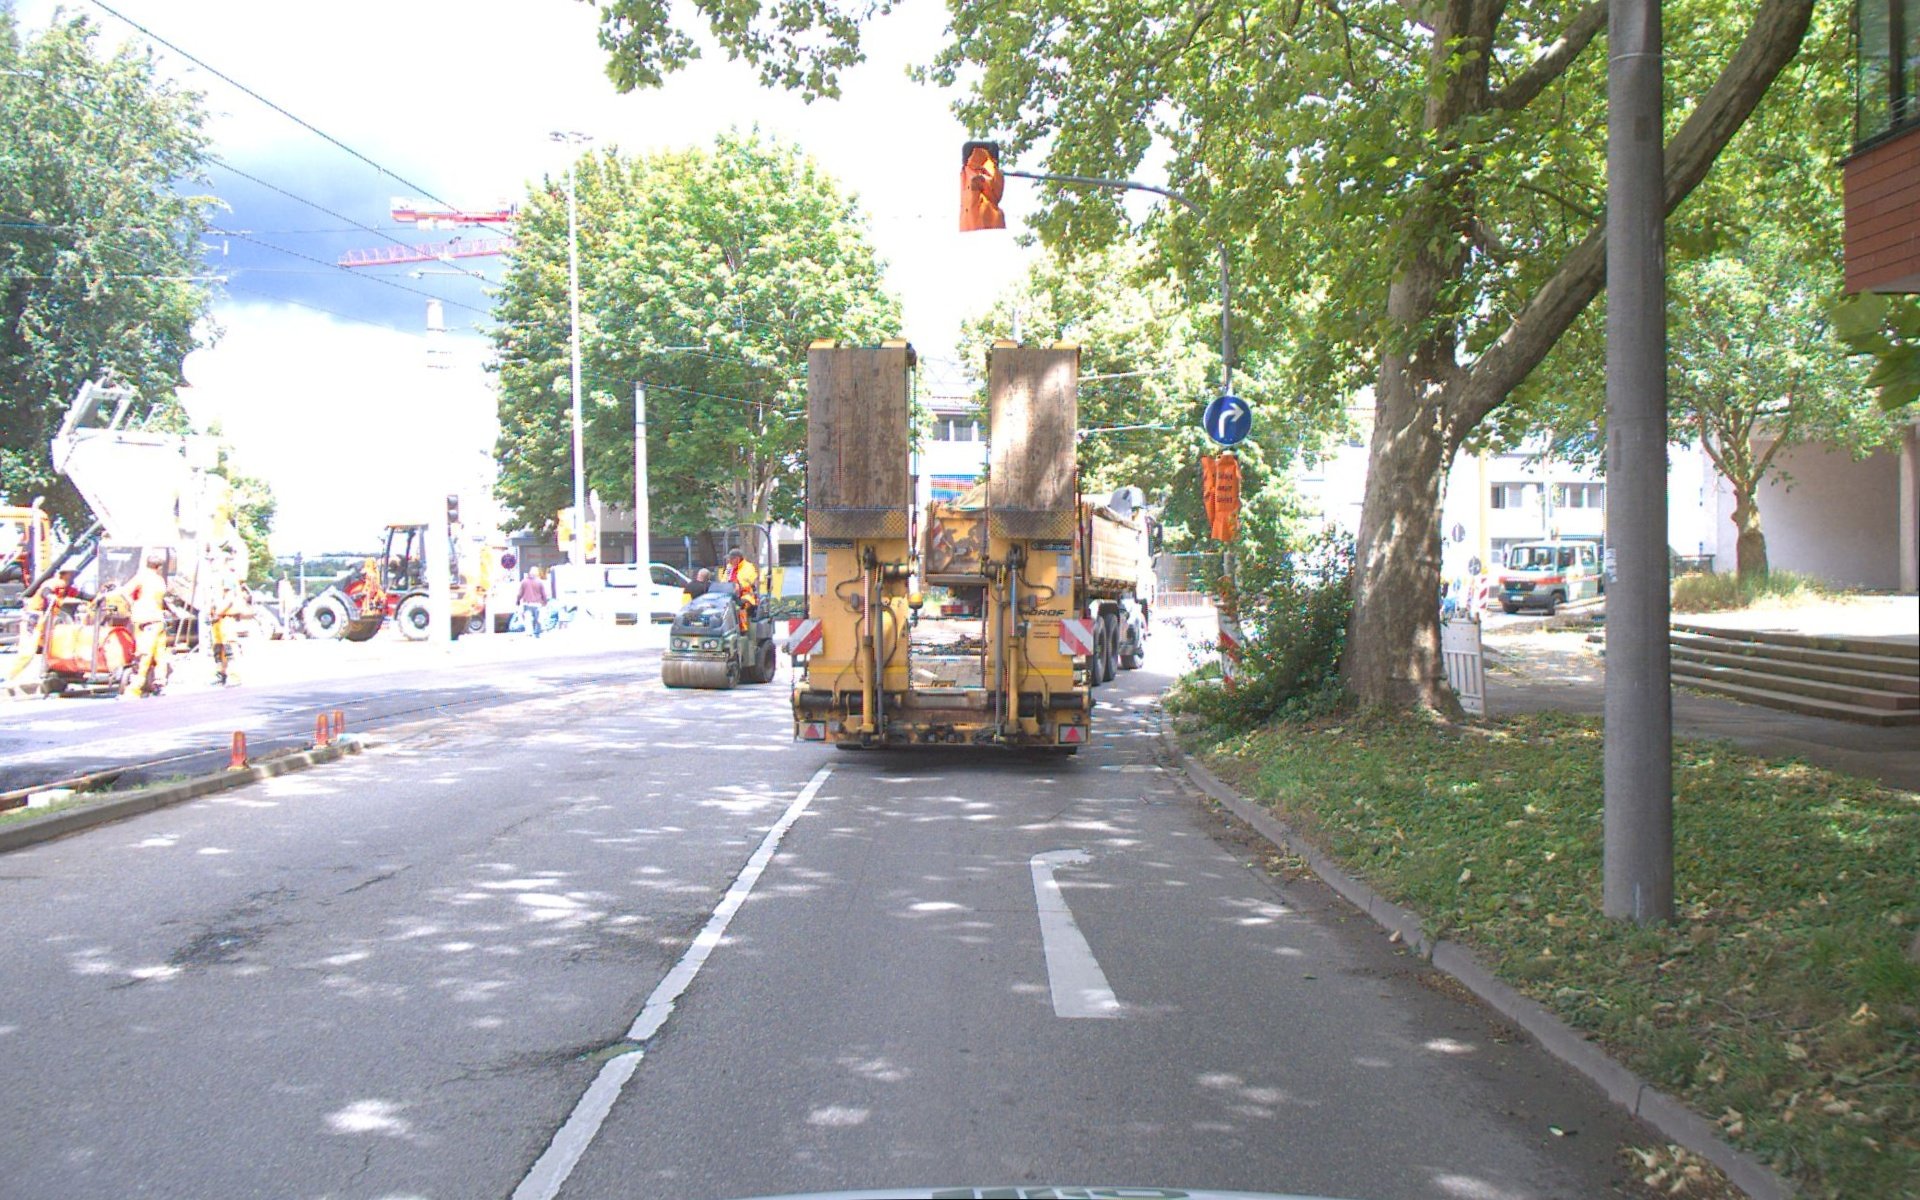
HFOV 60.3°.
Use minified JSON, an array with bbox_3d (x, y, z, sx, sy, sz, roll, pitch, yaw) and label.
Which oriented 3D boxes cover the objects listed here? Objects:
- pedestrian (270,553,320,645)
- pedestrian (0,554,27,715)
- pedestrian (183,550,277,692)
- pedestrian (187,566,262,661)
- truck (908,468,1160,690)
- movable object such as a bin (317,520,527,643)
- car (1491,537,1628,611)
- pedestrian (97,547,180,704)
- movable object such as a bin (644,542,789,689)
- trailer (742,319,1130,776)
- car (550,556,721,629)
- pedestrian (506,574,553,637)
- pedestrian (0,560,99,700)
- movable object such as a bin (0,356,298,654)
[{"bbox_3d":[-13.980,-0.025,34.776,0.820,1.900,0.885,0,0,-12],"label":"pedestrian"},{"bbox_3d":[-11.093,0.383,18.568,0.822,1.791,0.882,0,0,43],"label":"pedestrian"},{"bbox_3d":[-10.073,0.277,22.836,0.868,1.900,0.836,0,0,28],"label":"pedestrian"},{"bbox_3d":[-13.103,0.231,29.484,0.866,1.673,0.900,0,0,9],"label":"pedestrian"},{"bbox_3d":[1.527,-0.318,27.973,2.925,3.190,7.894,0,0,13],"label":"truck"},{"bbox_3d":[-12.346,-0.413,37.972,4.281,2.675,2.218,0,0,26],"label":"movable object such as a bin"},{"bbox_3d":[20.302,-0.856,56.006,4.191,2.406,2.138,0,0,-28],"label":"car"},{"bbox_3d":[-10.228,0.305,20.584,0.876,1.900,0.829,0,0,-29],"label":"pedestrian"},{"bbox_3d":[-3.546,0.201,24.422,1.369,2.049,2.558,0,0,10],"label":"movable object such as a bin"},{"bbox_3d":[0.179,-0.432,18.706,3.088,3.615,11.102,0,0,4],"label":"trailer"},{"bbox_3d":[-9.898,-0.228,50.329,5.005,2.139,1.969,0,0,-15],"label":"car"},{"bbox_3d":[-9.876,0.130,37.962,0.898,1.434,0.752,0,0,-3],"label":"pedestrian"},{"bbox_3d":[-11.807,0.366,21.252,0.873,1.745,1.103,0,0,45],"label":"pedestrian"},{"bbox_3d":[-17.793,-1.772,33.704,9.021,5.509,2.662,0,0,26],"label":"movable object such as a bin"}]
